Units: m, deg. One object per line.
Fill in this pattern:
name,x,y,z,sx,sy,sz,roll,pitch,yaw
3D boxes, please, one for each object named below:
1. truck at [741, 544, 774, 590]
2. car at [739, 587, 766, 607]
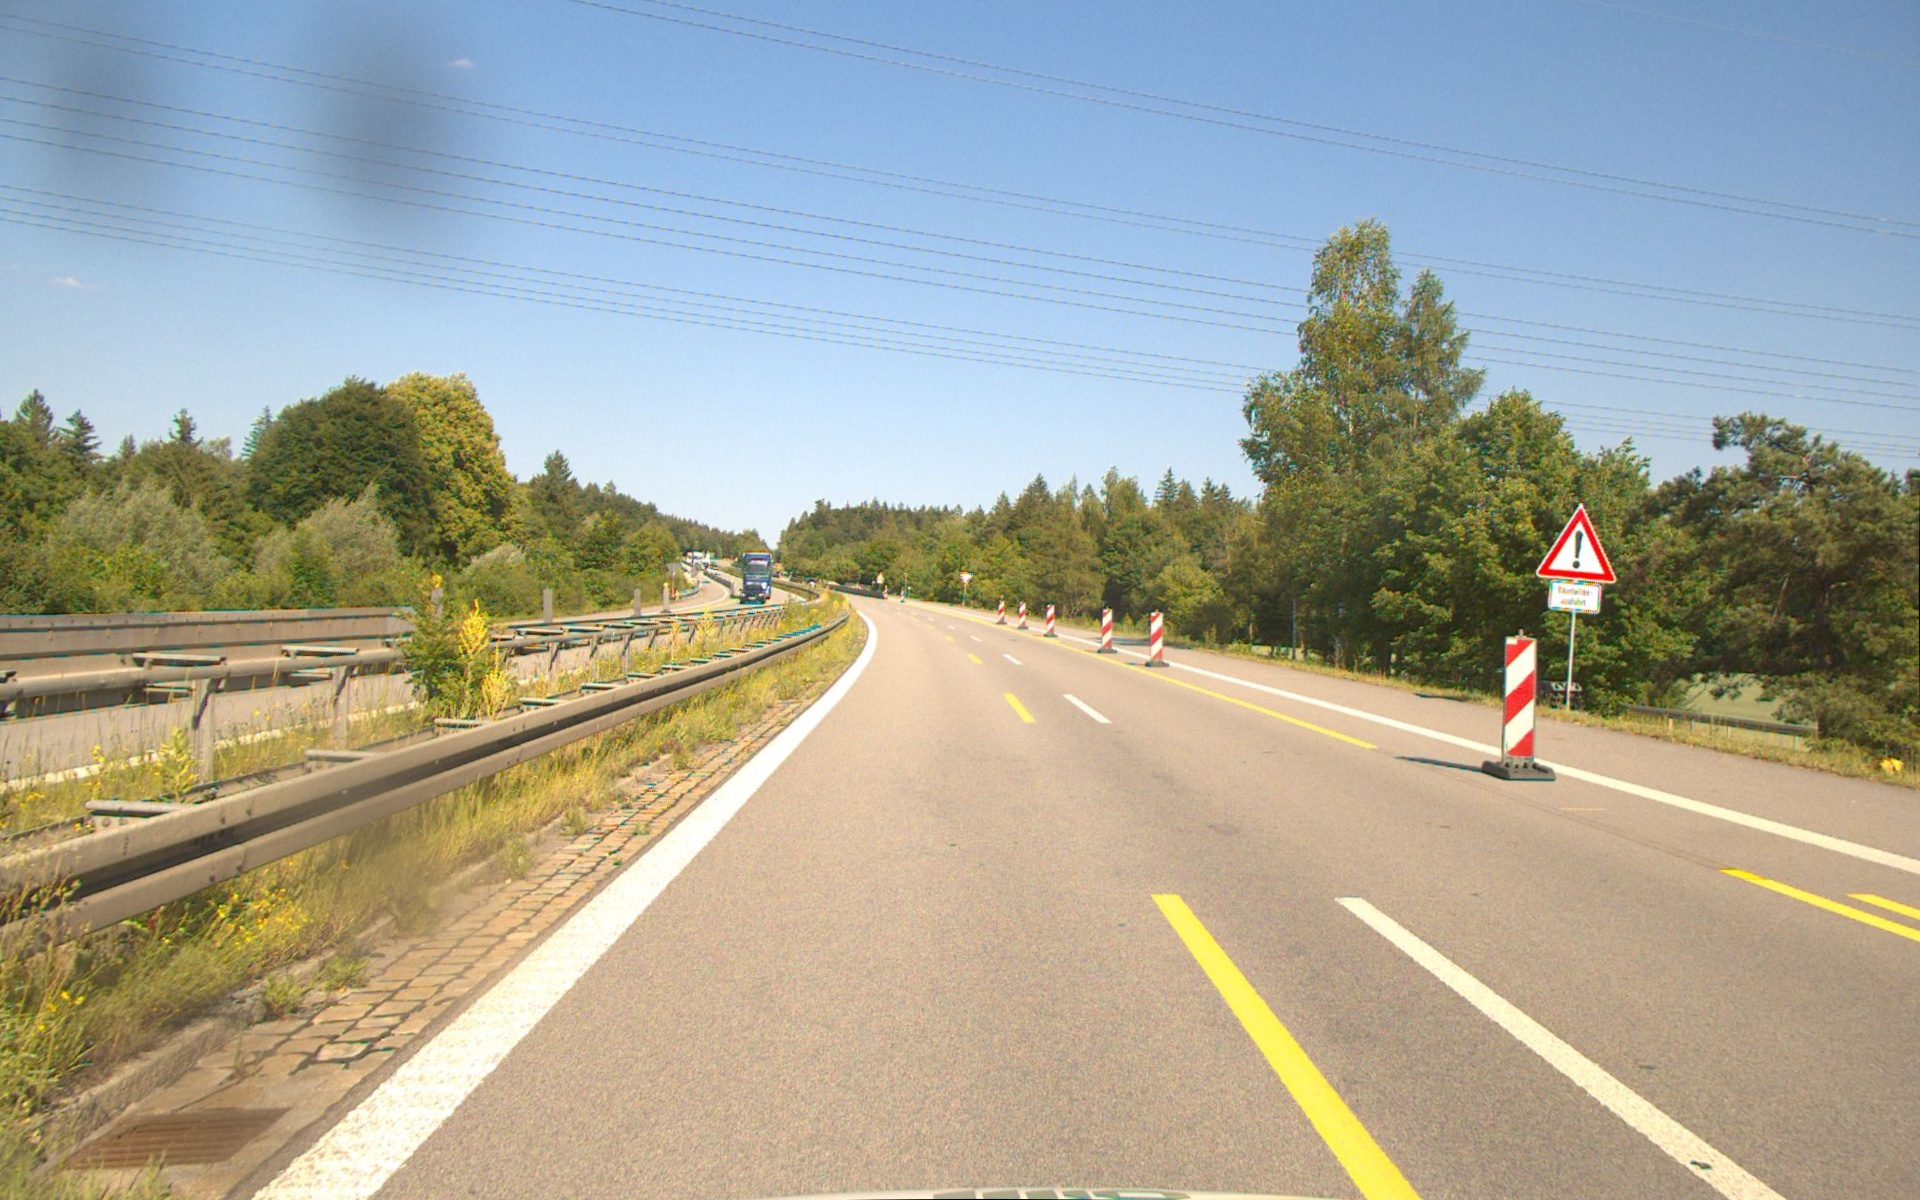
truck,-18.220,-2.903,149.085,2.581,4.028,5.837,1,0,-4
car,-15.380,-0.239,122.732,1.742,1.454,4.266,0,0,-4
